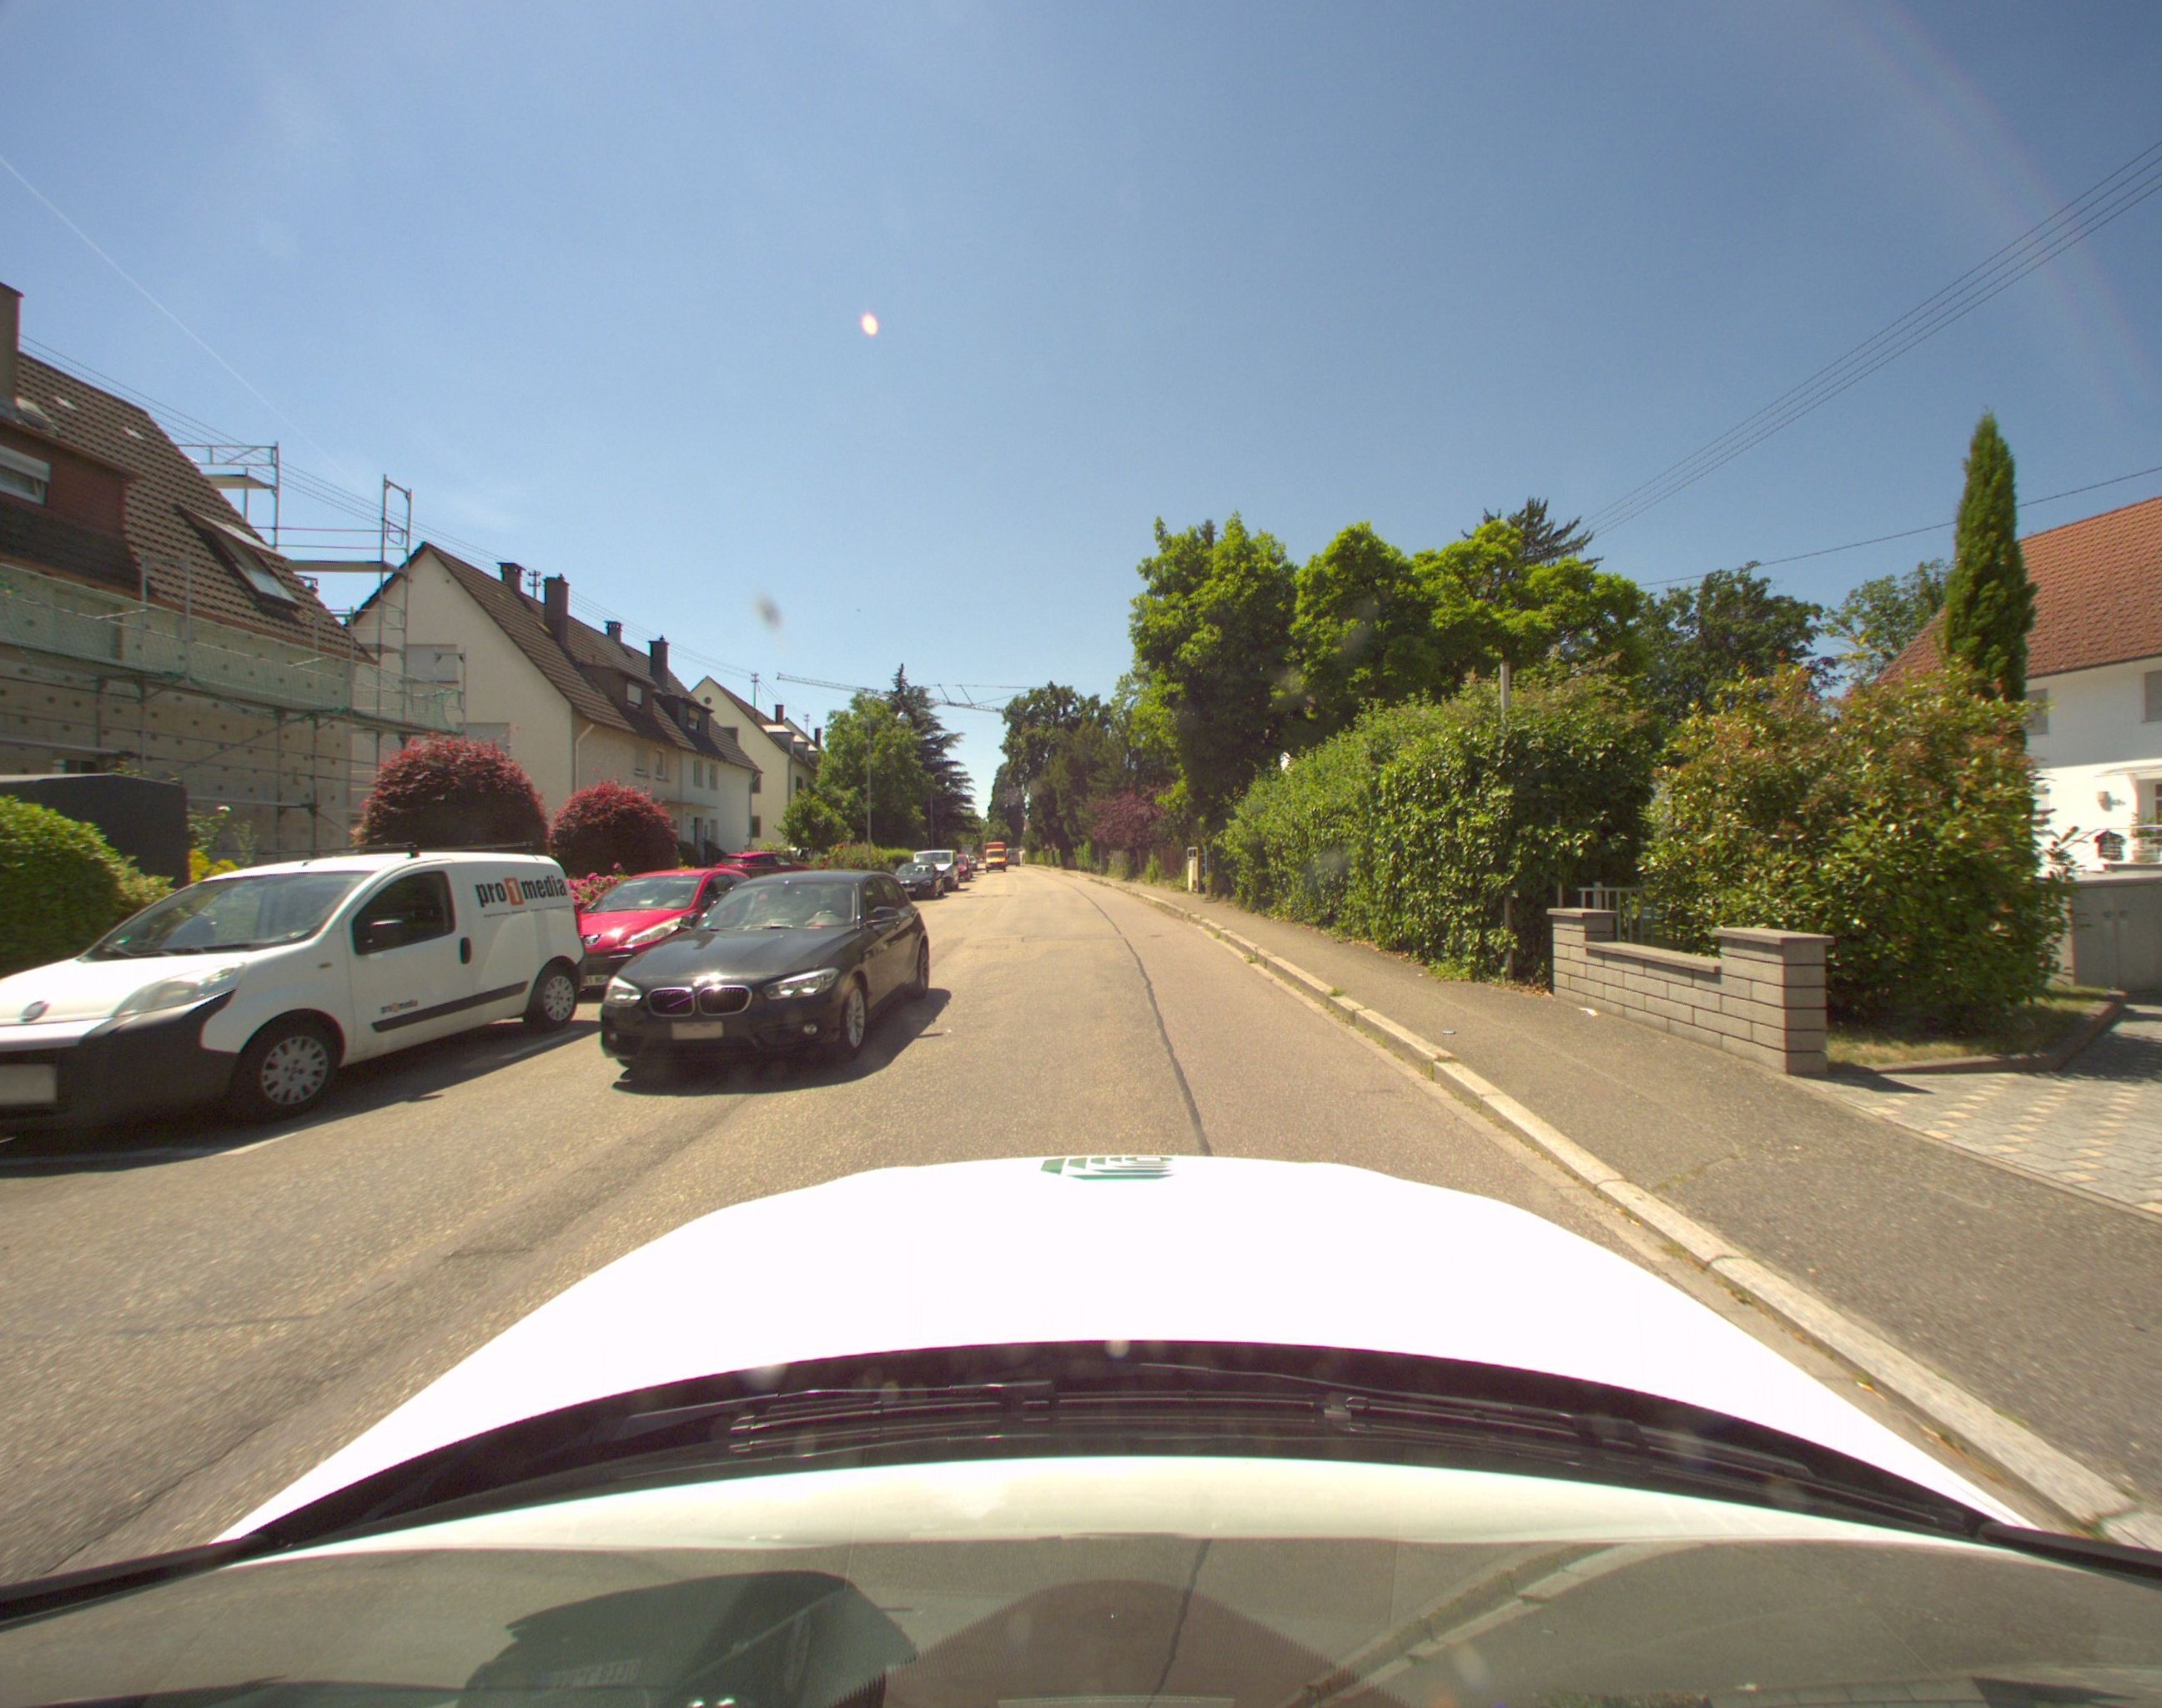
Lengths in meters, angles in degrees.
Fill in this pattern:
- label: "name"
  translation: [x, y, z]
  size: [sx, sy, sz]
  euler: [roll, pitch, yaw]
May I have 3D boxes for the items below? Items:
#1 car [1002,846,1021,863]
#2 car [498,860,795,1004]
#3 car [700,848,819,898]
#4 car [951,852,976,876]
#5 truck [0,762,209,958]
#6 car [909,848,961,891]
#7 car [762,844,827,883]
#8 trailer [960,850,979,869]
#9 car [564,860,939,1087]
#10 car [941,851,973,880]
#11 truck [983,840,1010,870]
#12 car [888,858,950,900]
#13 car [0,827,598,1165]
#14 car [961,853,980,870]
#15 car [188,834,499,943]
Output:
- label: "car"
  translation: [-10.145, 0.063, 118.098]
  size: [2.145, 2.315, 4.832]
  euler: [-3, 0, -12]
- label: "car"
  translation: [-5.619, 0.894, 11.223]
  size: [1.754, 1.477, 4.059]
  euler: [-3, 0, 1]
- label: "car"
  translation: [-11.716, 0.636, 29.965]
  size: [1.628, 1.511, 4.136]
  euler: [3, 3, 22]
- label: "car"
  translation: [-9.119, 0.743, 63.615]
  size: [1.645, 1.752, 4.346]
  euler: [-2, 0, -5]
- label: "truck"
  translation: [-12.226, 0.103, 8.833]
  size: [3.756, 1.937, 1.546]
  euler: [-2, 0, -1]
- label: "car"
  translation: [-6.873, 0.717, 38.766]
  size: [1.883, 1.881, 4.972]
  euler: [-2, 0, -5]
- label: "car"
  translation: [-14.616, 0.482, 41.774]
  size: [1.707, 1.870, 4.004]
  euler: [1, 0, 4]
- label: "trailer"
  translation: [-12.457, 0.623, 90.824]
  size: [1.847, 2.040, 4.151]
  euler: [-3, 0, -9]
- label: "car"
  translation: [-2.533, 0.809, 7.406]
  size: [1.726, 1.417, 3.999]
  euler: [-2, 0, 0]
- label: "car"
  translation: [-7.924, 0.691, 52.289]
  size: [1.756, 1.727, 4.448]
  euler: [-3, 0, -6]
- label: "truck"
  translation: [-8.486, 0.078, 81.170]
  size: [2.372, 2.830, 5.643]
  euler: [-2, 0, -8]
- label: "car"
  translation: [-6.174, 0.898, 31.505]
  size: [1.695, 1.384, 4.230]
  euler: [-3, 0, -3]
- label: "car"
  translation: [-5.785, 0.762, 6.217]
  size: [1.717, 1.736, 3.888]
  euler: [-3, 0, 1]
- label: "car"
  translation: [-11.797, 0.799, 86.447]
  size: [1.850, 1.671, 4.698]
  euler: [-3, 0, -9]
- label: "car"
  translation: [-12.261, 0.499, 13.971]
  size: [1.681, 1.514, 3.997]
  euler: [3, 0, -2]
